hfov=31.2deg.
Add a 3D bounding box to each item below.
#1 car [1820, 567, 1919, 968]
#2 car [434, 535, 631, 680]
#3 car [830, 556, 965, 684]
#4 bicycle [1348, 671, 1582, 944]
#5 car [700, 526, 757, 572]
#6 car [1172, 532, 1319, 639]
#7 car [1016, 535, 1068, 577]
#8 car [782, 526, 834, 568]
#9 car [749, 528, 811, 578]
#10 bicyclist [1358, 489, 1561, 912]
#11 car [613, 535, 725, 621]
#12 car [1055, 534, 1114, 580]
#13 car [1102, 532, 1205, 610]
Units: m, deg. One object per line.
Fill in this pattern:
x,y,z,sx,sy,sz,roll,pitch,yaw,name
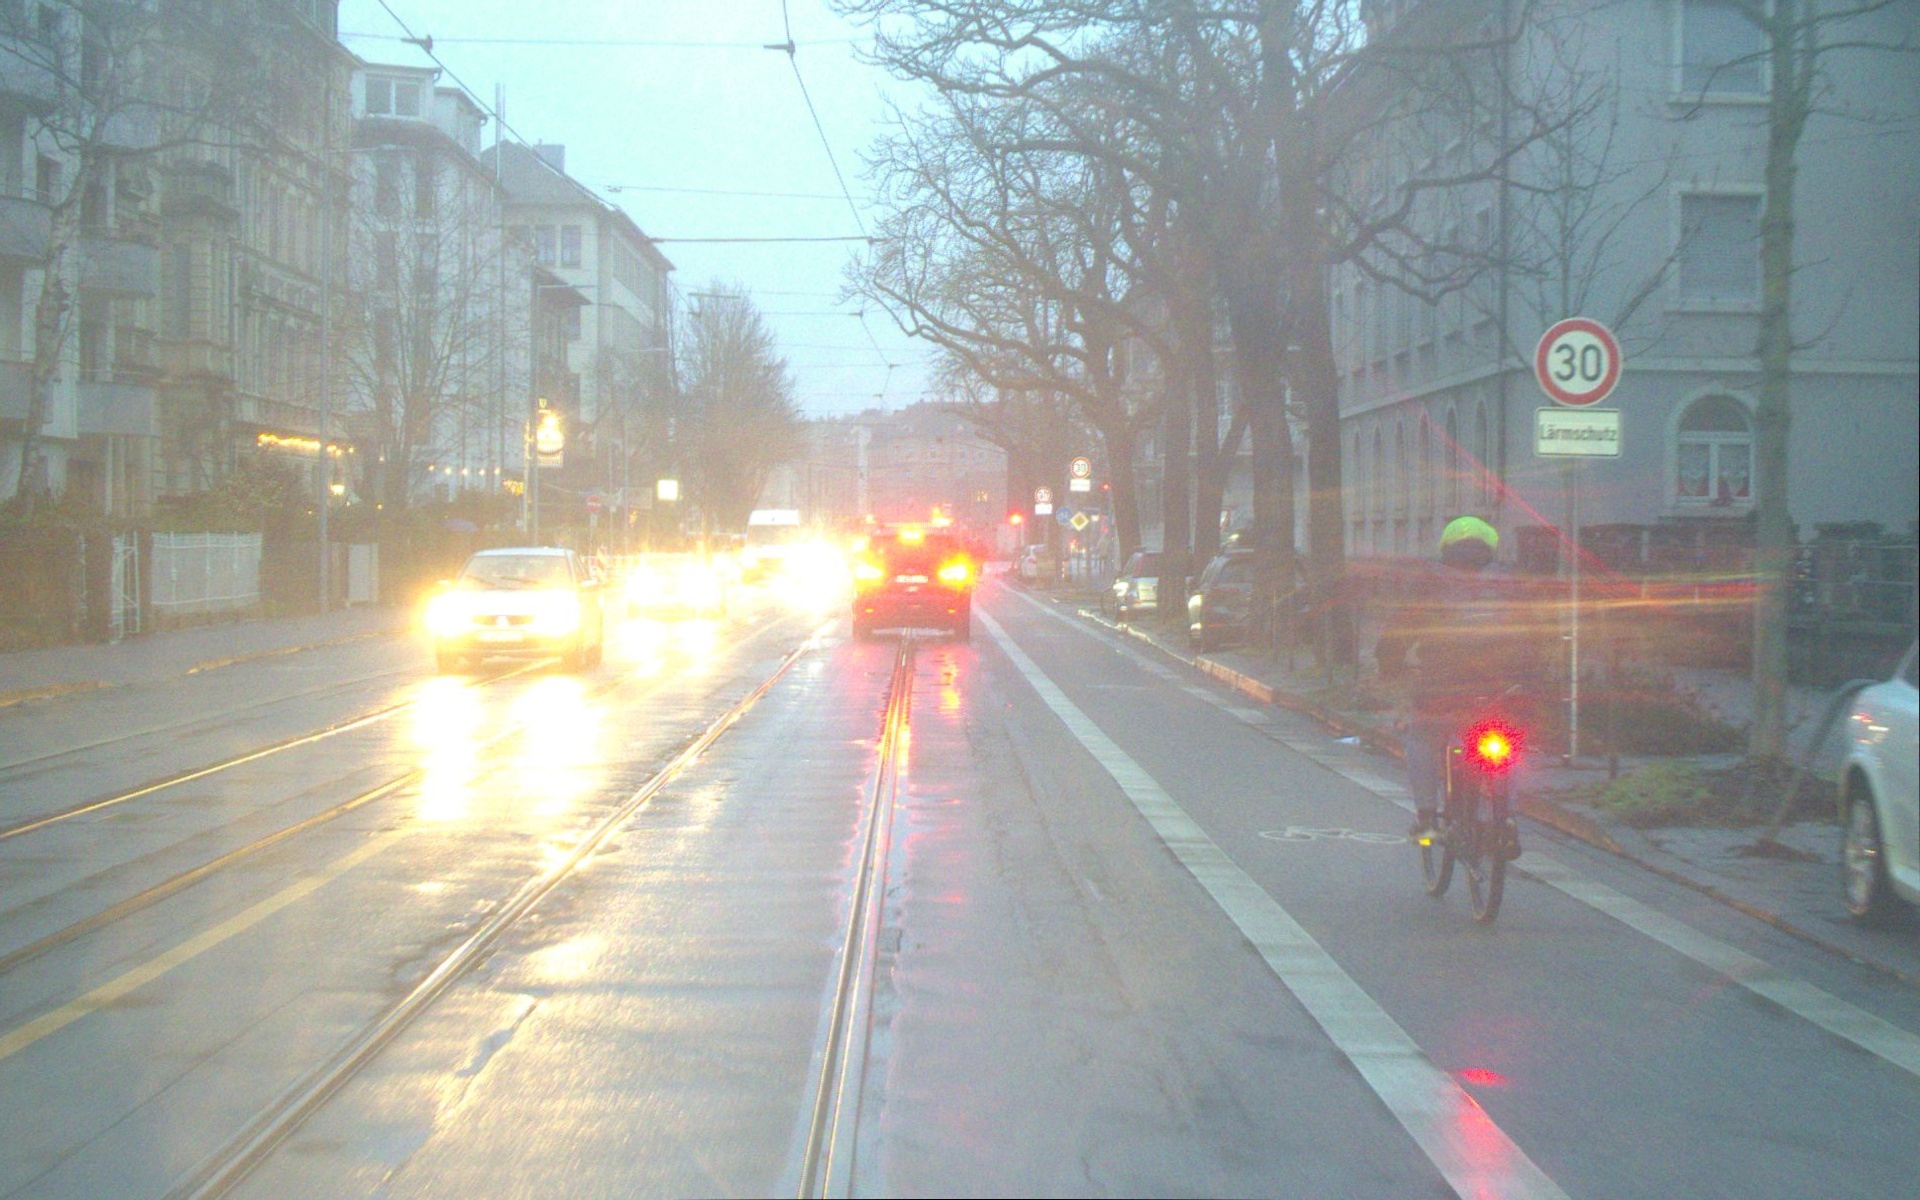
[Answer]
4.530,0.654,12.556,1.785,1.504,4.108,0,1,1,car
-5.087,0.050,41.358,1.923,1.656,4.000,0,1,-1,car
-0.962,0.284,54.887,1.802,1.864,4.018,3,1,3,car
2.094,0.838,14.457,0.731,1.003,1.764,0,1,1,bicycle
-8.780,-1.950,130.670,1.923,1.714,4.000,0,1,-1,car
4.145,-0.240,50.468,1.785,1.504,4.109,0,1,0,car
3.022,-1.634,127.409,1.785,1.504,4.109,0,1,0,car
-5.995,-2.101,135.819,1.923,1.656,4.000,0,1,-1,car
-6.060,-1.611,116.125,1.923,1.656,4.000,0,1,-1,car
2.094,0.407,14.494,0.730,1.730,0.765,0,1,1,bicyclist
-5.734,-0.458,68.190,1.923,1.656,4.000,0,1,-1,car
4.125,-1.437,114.249,1.785,1.504,4.109,0,1,0,car
3.822,-0.597,68.492,1.785,1.504,4.109,0,1,0,car
